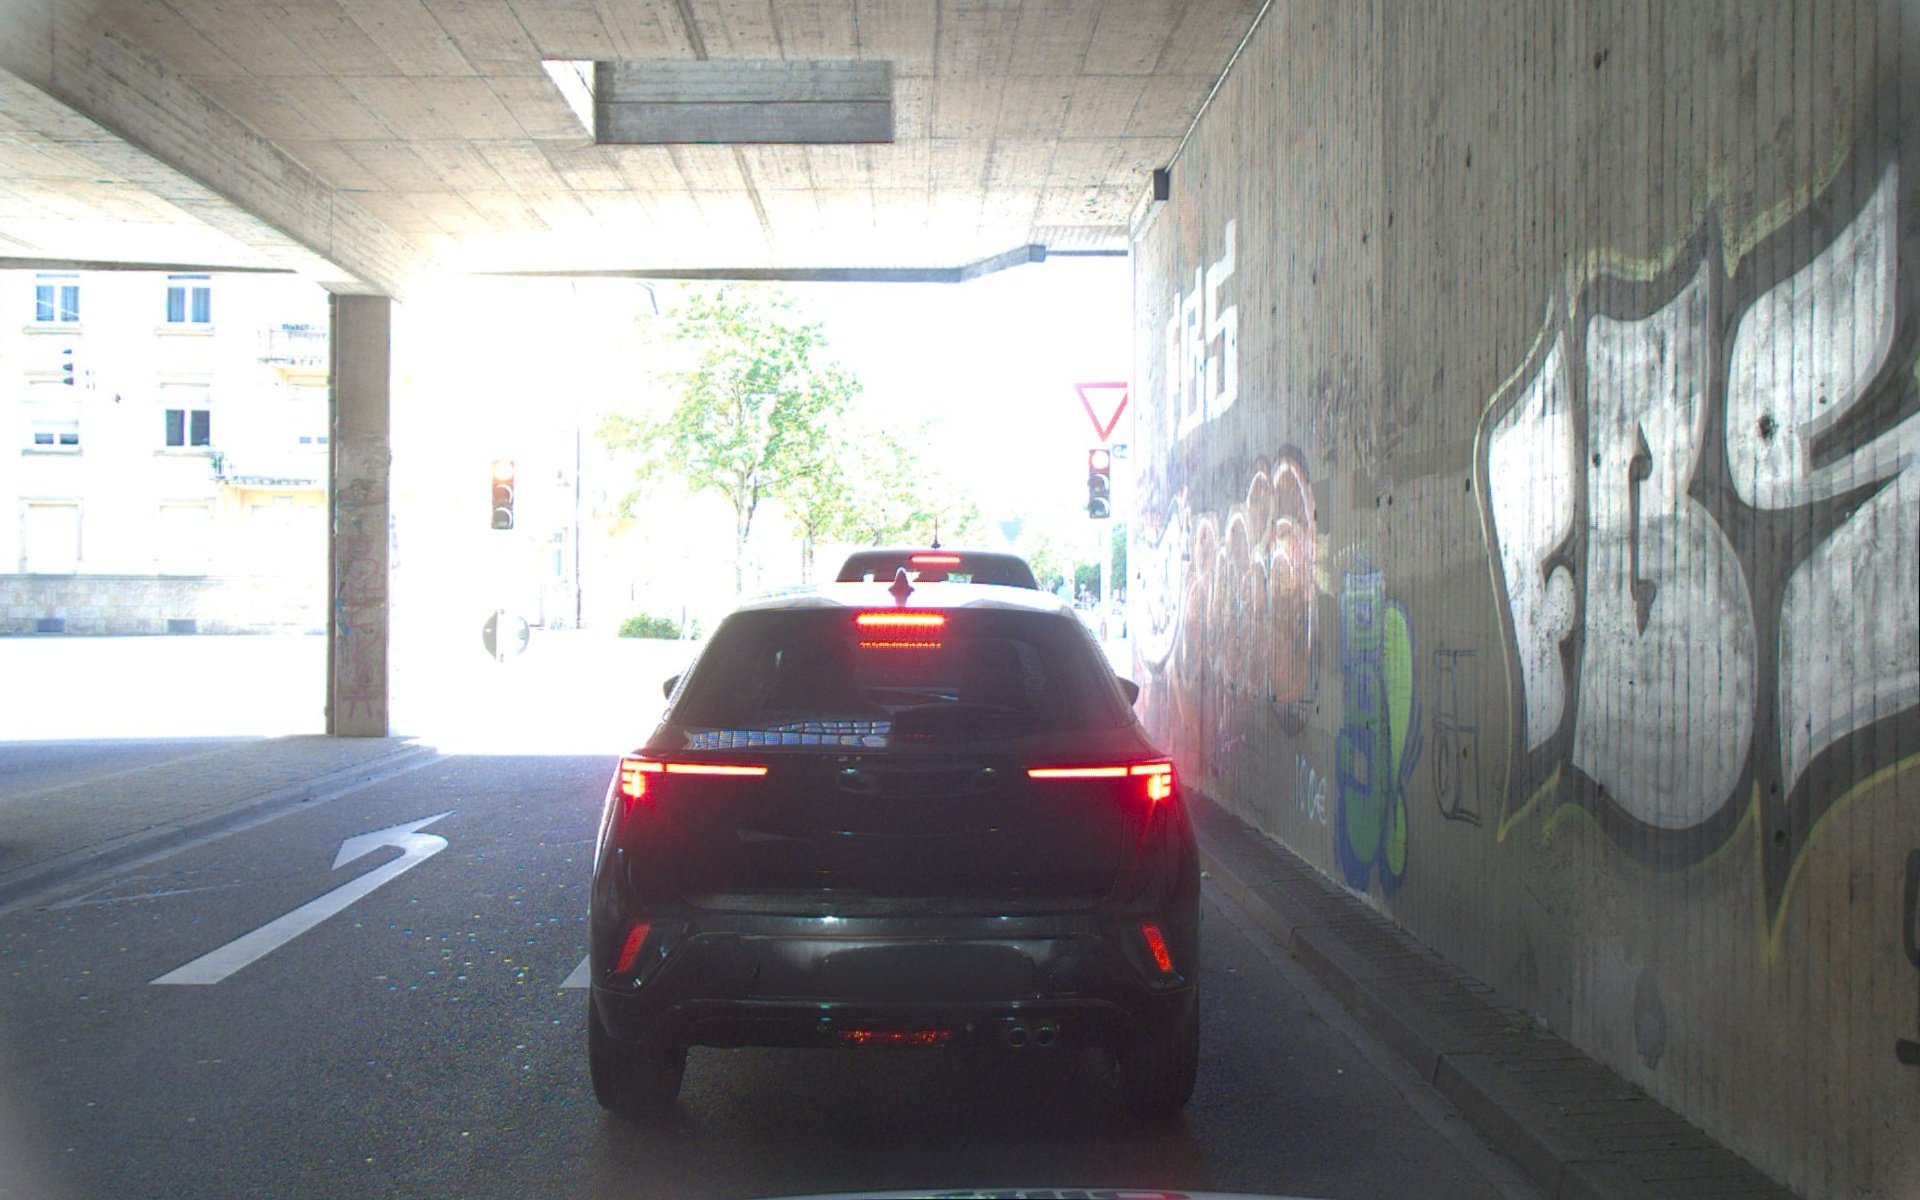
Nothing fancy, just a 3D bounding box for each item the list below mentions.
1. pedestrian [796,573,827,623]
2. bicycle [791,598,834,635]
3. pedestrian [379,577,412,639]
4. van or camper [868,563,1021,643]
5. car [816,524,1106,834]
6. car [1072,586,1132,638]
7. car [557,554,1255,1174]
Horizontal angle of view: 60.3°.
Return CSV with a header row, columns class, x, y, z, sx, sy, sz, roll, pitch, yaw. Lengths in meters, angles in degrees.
class,x,y,z,sx,sy,sz,roll,pitch,yaw
pedestrian,-4.825,-0.070,53.861,0.720,1.612,0.891,1,-1,15
bicycle,-4.799,0.531,53.890,0.721,1.150,2.027,0,0,16
pedestrian,-16.084,0.235,47.132,0.715,1.734,0.616,1,-1,-37
van or camper,-0.373,0.076,43.390,3.795,2.049,2.002,0,0,7
car,-0.014,0.472,12.064,1.749,1.865,3.960,1,0,-1
car,4.860,0.382,56.852,1.951,1.670,4.596,0,1,4
car,-0.147,0.652,6.132,1.717,1.525,4.000,1,0,-1
